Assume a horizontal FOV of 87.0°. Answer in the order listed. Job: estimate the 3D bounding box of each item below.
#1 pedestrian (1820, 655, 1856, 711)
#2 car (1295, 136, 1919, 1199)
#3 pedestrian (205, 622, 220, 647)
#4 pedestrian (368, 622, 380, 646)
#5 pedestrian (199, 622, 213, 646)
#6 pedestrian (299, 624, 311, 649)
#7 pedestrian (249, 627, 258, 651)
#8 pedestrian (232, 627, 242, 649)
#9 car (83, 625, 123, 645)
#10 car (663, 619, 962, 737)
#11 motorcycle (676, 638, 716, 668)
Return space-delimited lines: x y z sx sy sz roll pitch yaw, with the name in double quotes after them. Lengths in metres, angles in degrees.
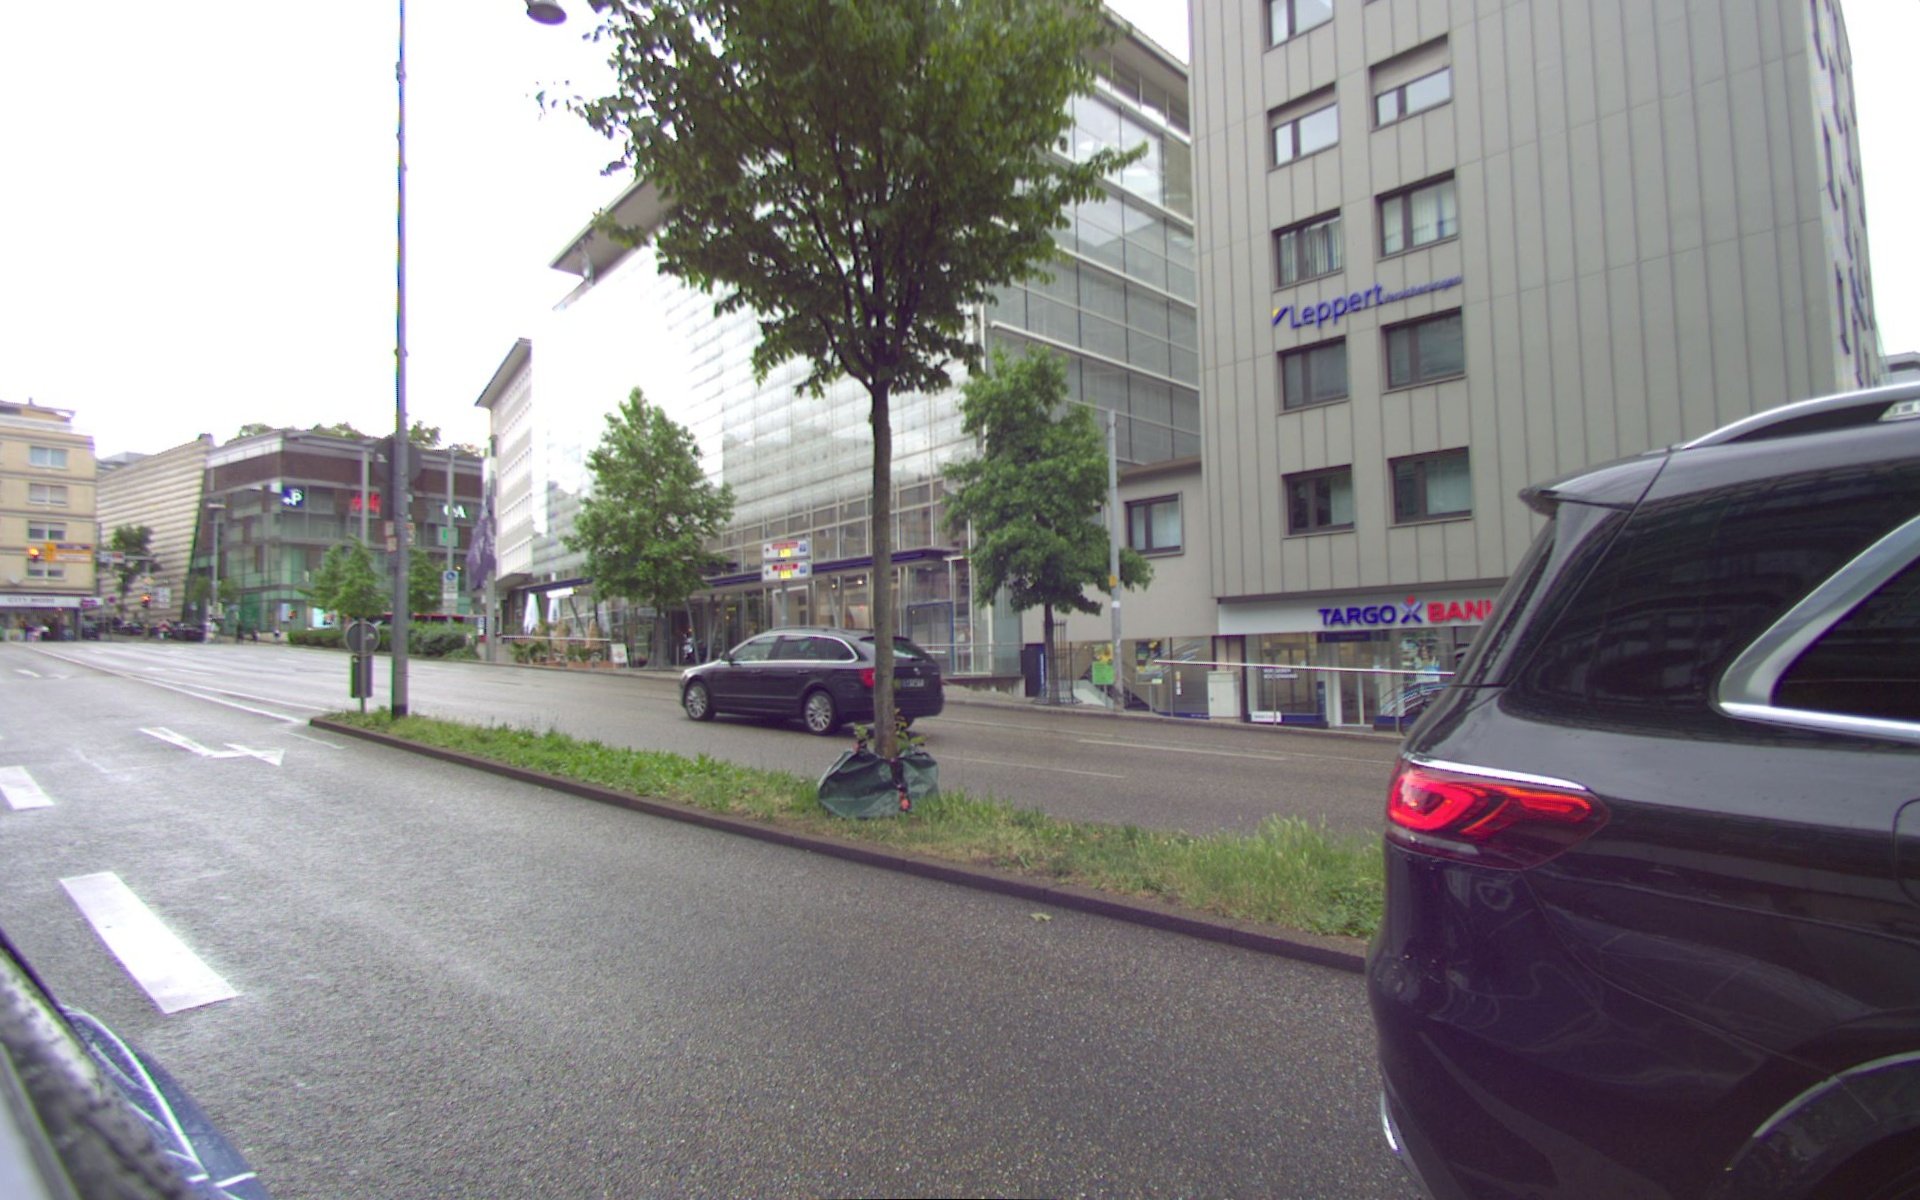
27.506 2.579 31.715 0.724 1.710 0.781 0 -3 34 "pedestrian"
3.100 0.382 0.799 5.069 1.884 1.892 0 0 40 "car"
-50.741 2.337 68.696 0.603 1.642 0.625 -1 -3 44 "pedestrian"
-44.973 2.619 77.648 0.618 1.788 0.689 0 0 -45 "pedestrian"
-51.812 2.337 69.516 0.602 1.642 0.625 -1 -3 42 "pedestrian"
-49.253 2.738 76.121 0.617 1.788 0.689 0 0 -43 "pedestrian"
-50.845 2.805 72.825 0.603 1.642 0.422 -1 -3 45 "pedestrian"
-53.150 2.793 74.371 0.602 1.642 0.422 -1 -3 44 "pedestrian"
-90.048 3.699 106.272 4.575 2.029 1.977 0 -2 34 "car"
-2.319 1.164 15.019 4.732 1.497 1.617 -4 -6 39 "car"
-12.013 2.423 46.146 0.620 1.336 1.685 -1 -3 41 "motorcycle"
